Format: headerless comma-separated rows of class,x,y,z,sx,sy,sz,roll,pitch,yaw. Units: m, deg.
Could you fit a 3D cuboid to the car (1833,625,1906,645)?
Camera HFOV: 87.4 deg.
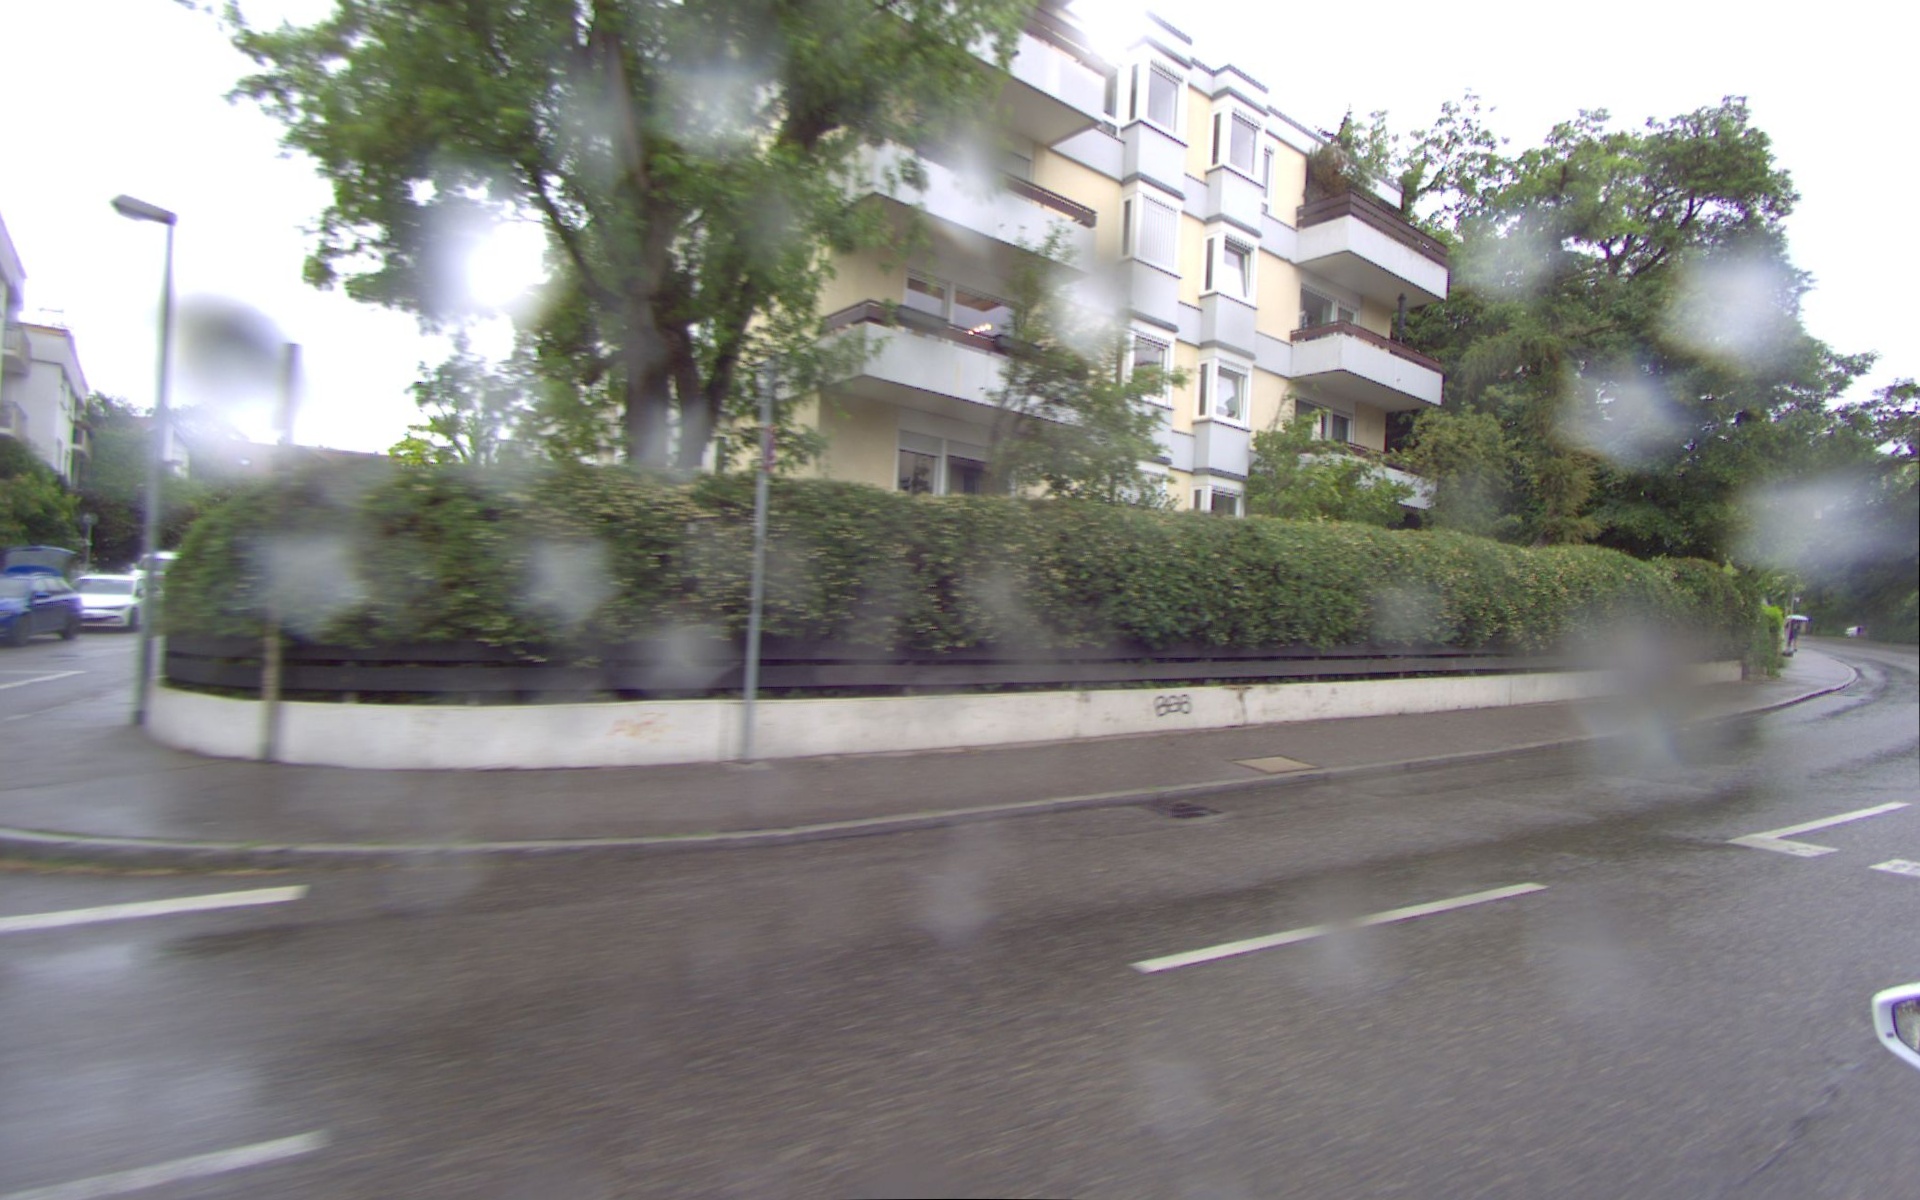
car,74.298,2.849,82.167,4.082,1.496,1.901,0,0,29

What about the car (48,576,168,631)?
car,-22.602,0.109,26.775,1.803,1.351,3.357,1,-1,-30

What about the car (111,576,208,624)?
car,-24.577,0.013,30.962,1.803,1.351,3.357,1,-1,-30

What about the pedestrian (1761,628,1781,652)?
pedestrian,43.053,2.091,53.329,0.746,1.195,1.035,5,2,38

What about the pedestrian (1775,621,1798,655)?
pedestrian,42.624,1.932,51.794,0.746,1.666,1.035,6,3,38

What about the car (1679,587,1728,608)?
car,97.483,-0.314,131.753,4.865,2.603,1.903,0,0,25

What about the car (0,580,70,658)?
car,-20.086,0.356,20.783,1.803,1.535,3.357,1,-1,-30
